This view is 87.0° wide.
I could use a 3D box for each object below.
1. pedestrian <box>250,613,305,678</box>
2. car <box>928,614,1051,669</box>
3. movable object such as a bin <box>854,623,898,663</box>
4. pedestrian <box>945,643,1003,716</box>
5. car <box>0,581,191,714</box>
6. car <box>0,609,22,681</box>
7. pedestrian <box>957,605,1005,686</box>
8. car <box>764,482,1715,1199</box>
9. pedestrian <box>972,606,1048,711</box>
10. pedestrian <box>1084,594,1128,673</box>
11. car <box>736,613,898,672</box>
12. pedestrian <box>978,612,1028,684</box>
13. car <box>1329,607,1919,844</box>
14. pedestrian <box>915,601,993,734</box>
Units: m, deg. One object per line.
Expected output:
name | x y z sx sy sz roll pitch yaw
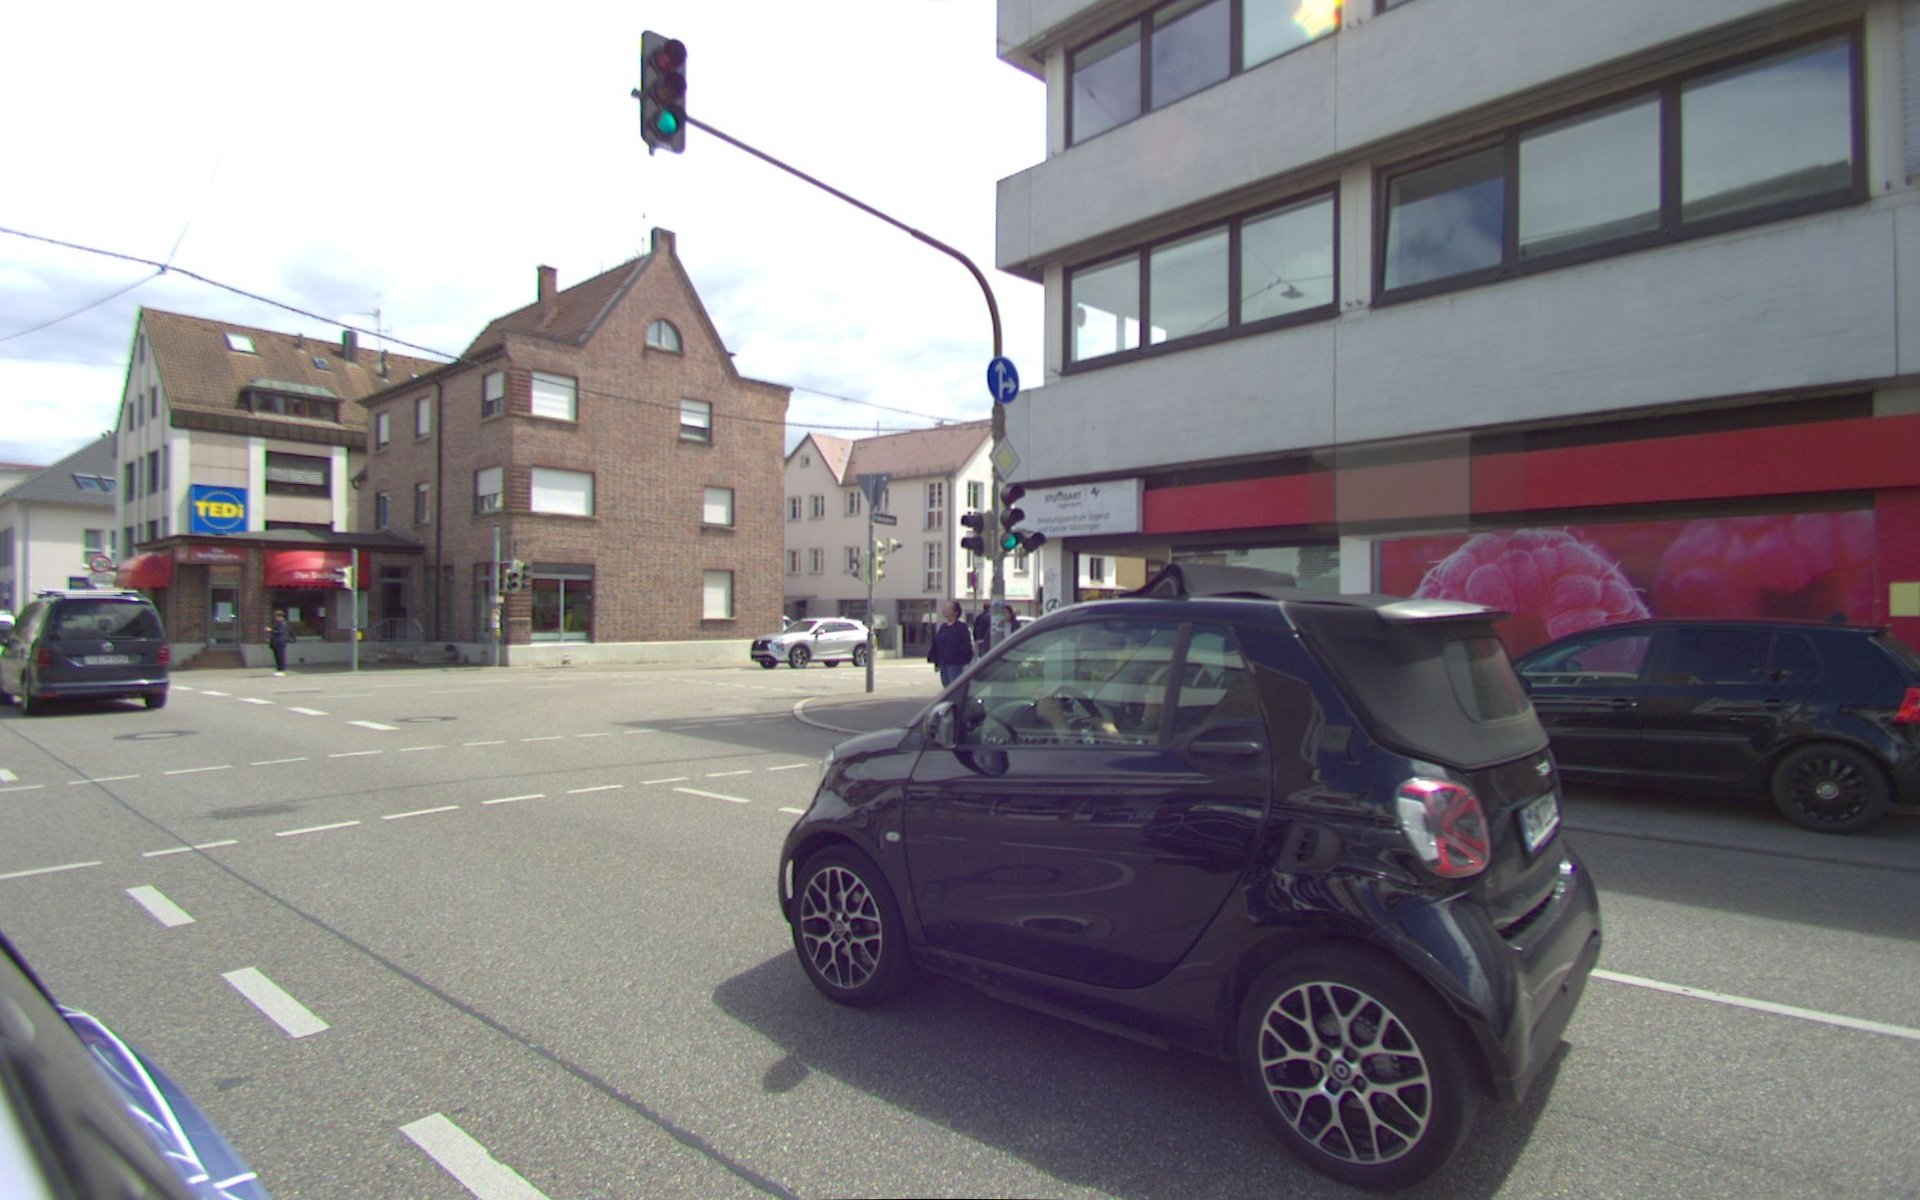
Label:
pedestrian | -18.514 1.223 27.462 0.839 1.736 0.907 0 -2 0
car | 1.066 1.421 35.016 1.999 1.768 4.291 -2 -3 41
movable object such as a bin | -3.573 1.829 43.220 1.145 1.637 1.498 -1 0 44
pedestrian | 0.212 1.196 15.446 0.552 1.065 0.663 -1 -1 -43
car | -14.603 0.737 16.769 4.873 1.891 1.929 -1 -2 40
car | -27.767 1.240 28.336 4.111 1.945 1.795 -2 -3 42
pedestrian | 0.479 1.000 22.582 0.815 1.753 0.840 -1 -1 21
car | 0.866 0.627 3.603 2.831 1.648 1.660 -1 -2 40
pedestrian | 0.780 0.891 15.788 0.809 1.566 0.846 -1 -1 -43
pedestrian | 3.344 0.756 23.107 0.815 1.753 0.840 -1 -1 20
car | -4.641 1.394 33.507 2.001 1.782 5.184 -3 -3 44
pedestrian | 1.019 1.125 24.134 0.832 1.663 0.823 -1 -1 -37
car | 5.559 0.836 8.326 4.285 1.486 2.022 -2 -1 43
pedestrian | -0.076 0.847 13.140 0.709 1.657 0.682 0 -1 -44
